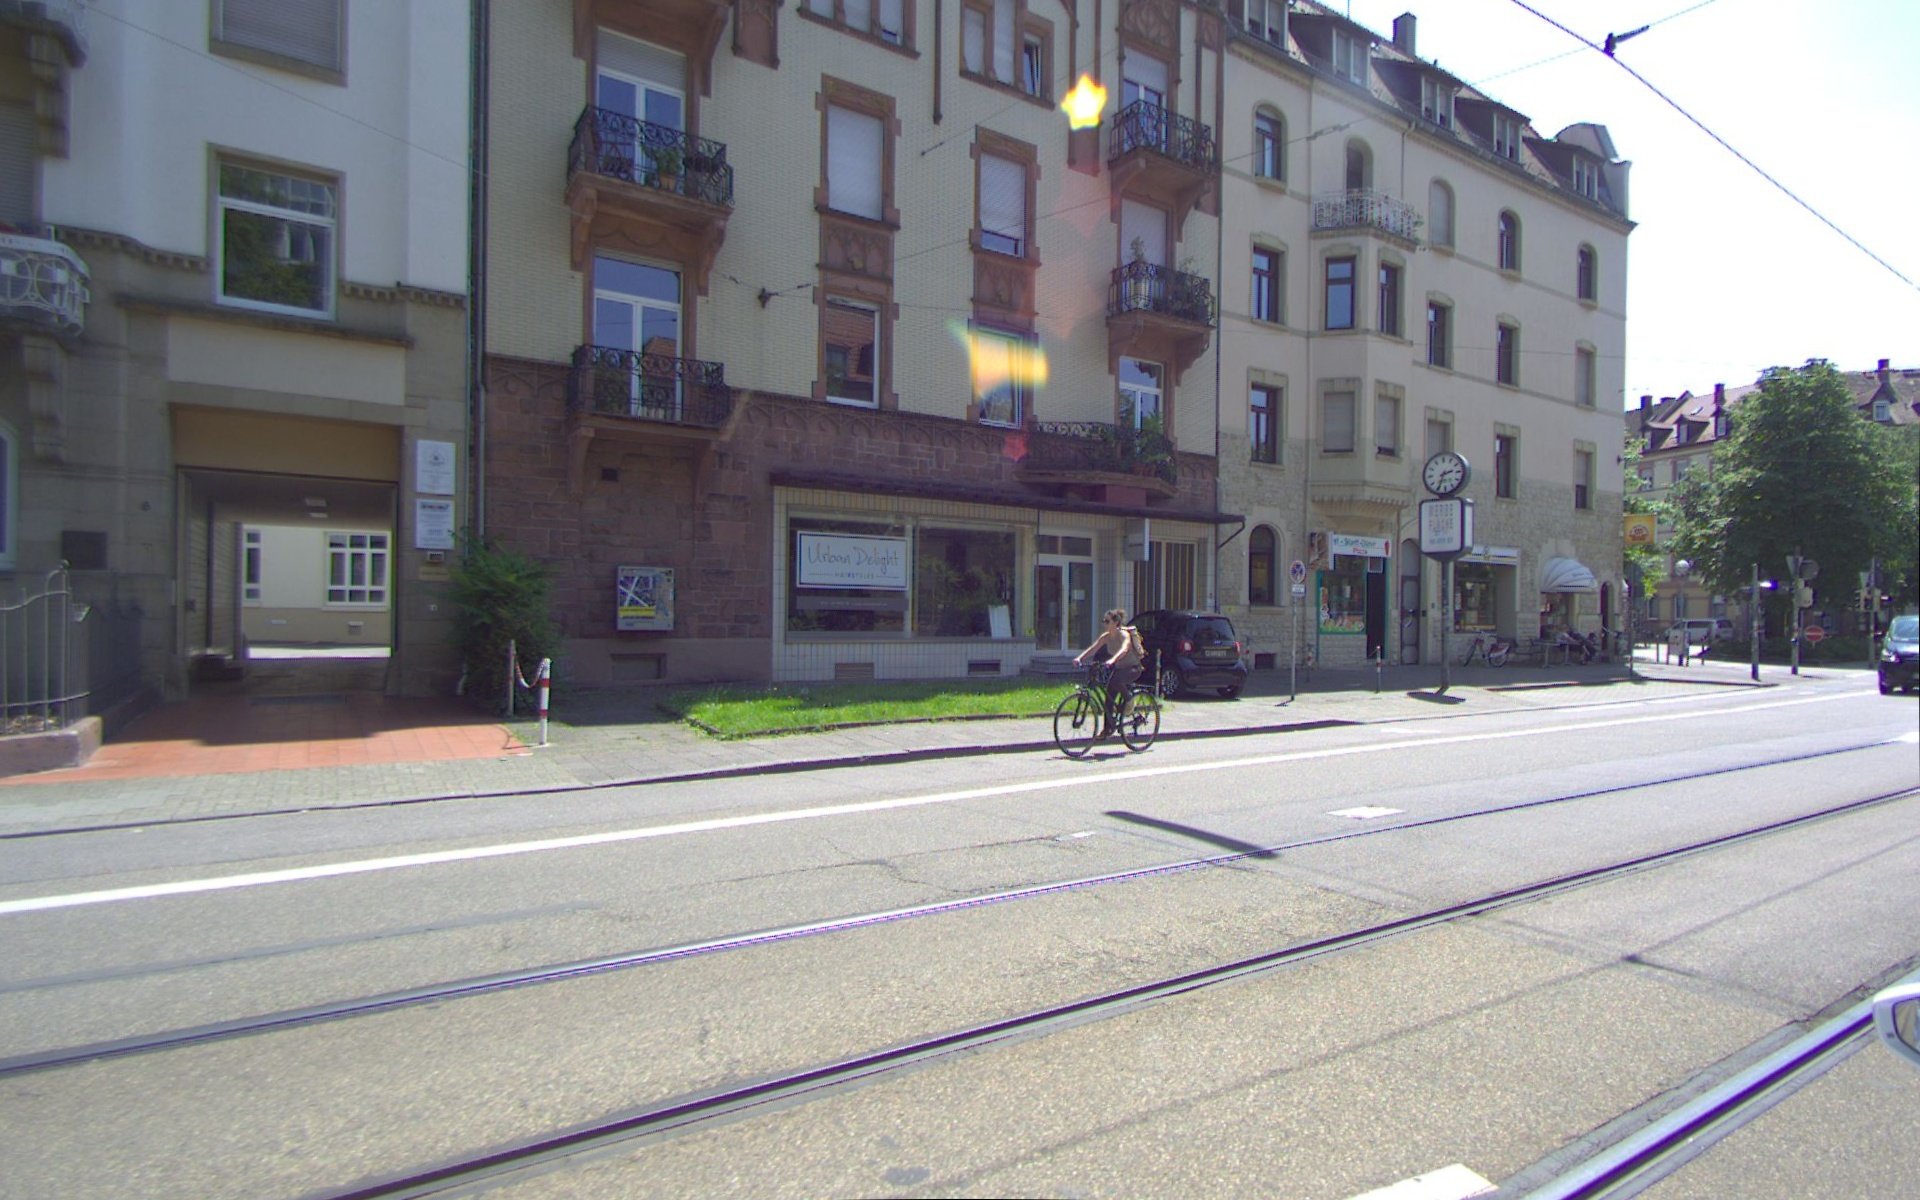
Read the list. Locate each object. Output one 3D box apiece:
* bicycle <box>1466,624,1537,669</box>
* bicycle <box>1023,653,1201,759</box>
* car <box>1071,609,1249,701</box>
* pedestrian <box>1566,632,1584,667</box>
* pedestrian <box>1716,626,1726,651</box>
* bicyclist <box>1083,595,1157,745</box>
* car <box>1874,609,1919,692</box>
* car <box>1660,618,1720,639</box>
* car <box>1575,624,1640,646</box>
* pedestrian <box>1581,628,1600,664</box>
[{"bbox_3d":[15.966,1.365,29.620,2.045,1.241,0.454,2,0,-14],"label":"bicycle"},{"bbox_3d":[1.787,1.176,11.606,2.164,1.089,0.640,2,-1,-34],"label":"bicycle"},{"bbox_3d":[3.712,0.983,19.104,1.511,1.491,3.339,1,0,-29],"label":"car"},{"bbox_3d":[19.766,1.581,32.276,0.402,1.103,0.352,2,0,-37],"label":"pedestrian"},{"bbox_3d":[57.032,2.873,75.255,0.499,1.791,0.527,2,0,35],"label":"pedestrian"},{"bbox_3d":[1.851,0.789,11.664,0.573,1.685,0.606,1,-1,-34],"label":"bicyclist"},{"bbox_3d":[24.591,1.276,25.138,4.782,1.963,1.829,3,-2,-39],"label":"car"},{"bbox_3d":[55.360,2.131,76.244,1.513,1.461,3.736,2,0,-9],"label":"car"},{"bbox_3d":[47.108,2.535,73.093,1.521,1.461,3.718,2,0,-25],"label":"car"},{"bbox_3d":[20.697,1.500,32.973,0.402,1.164,0.402,2,0,-37],"label":"pedestrian"}]
